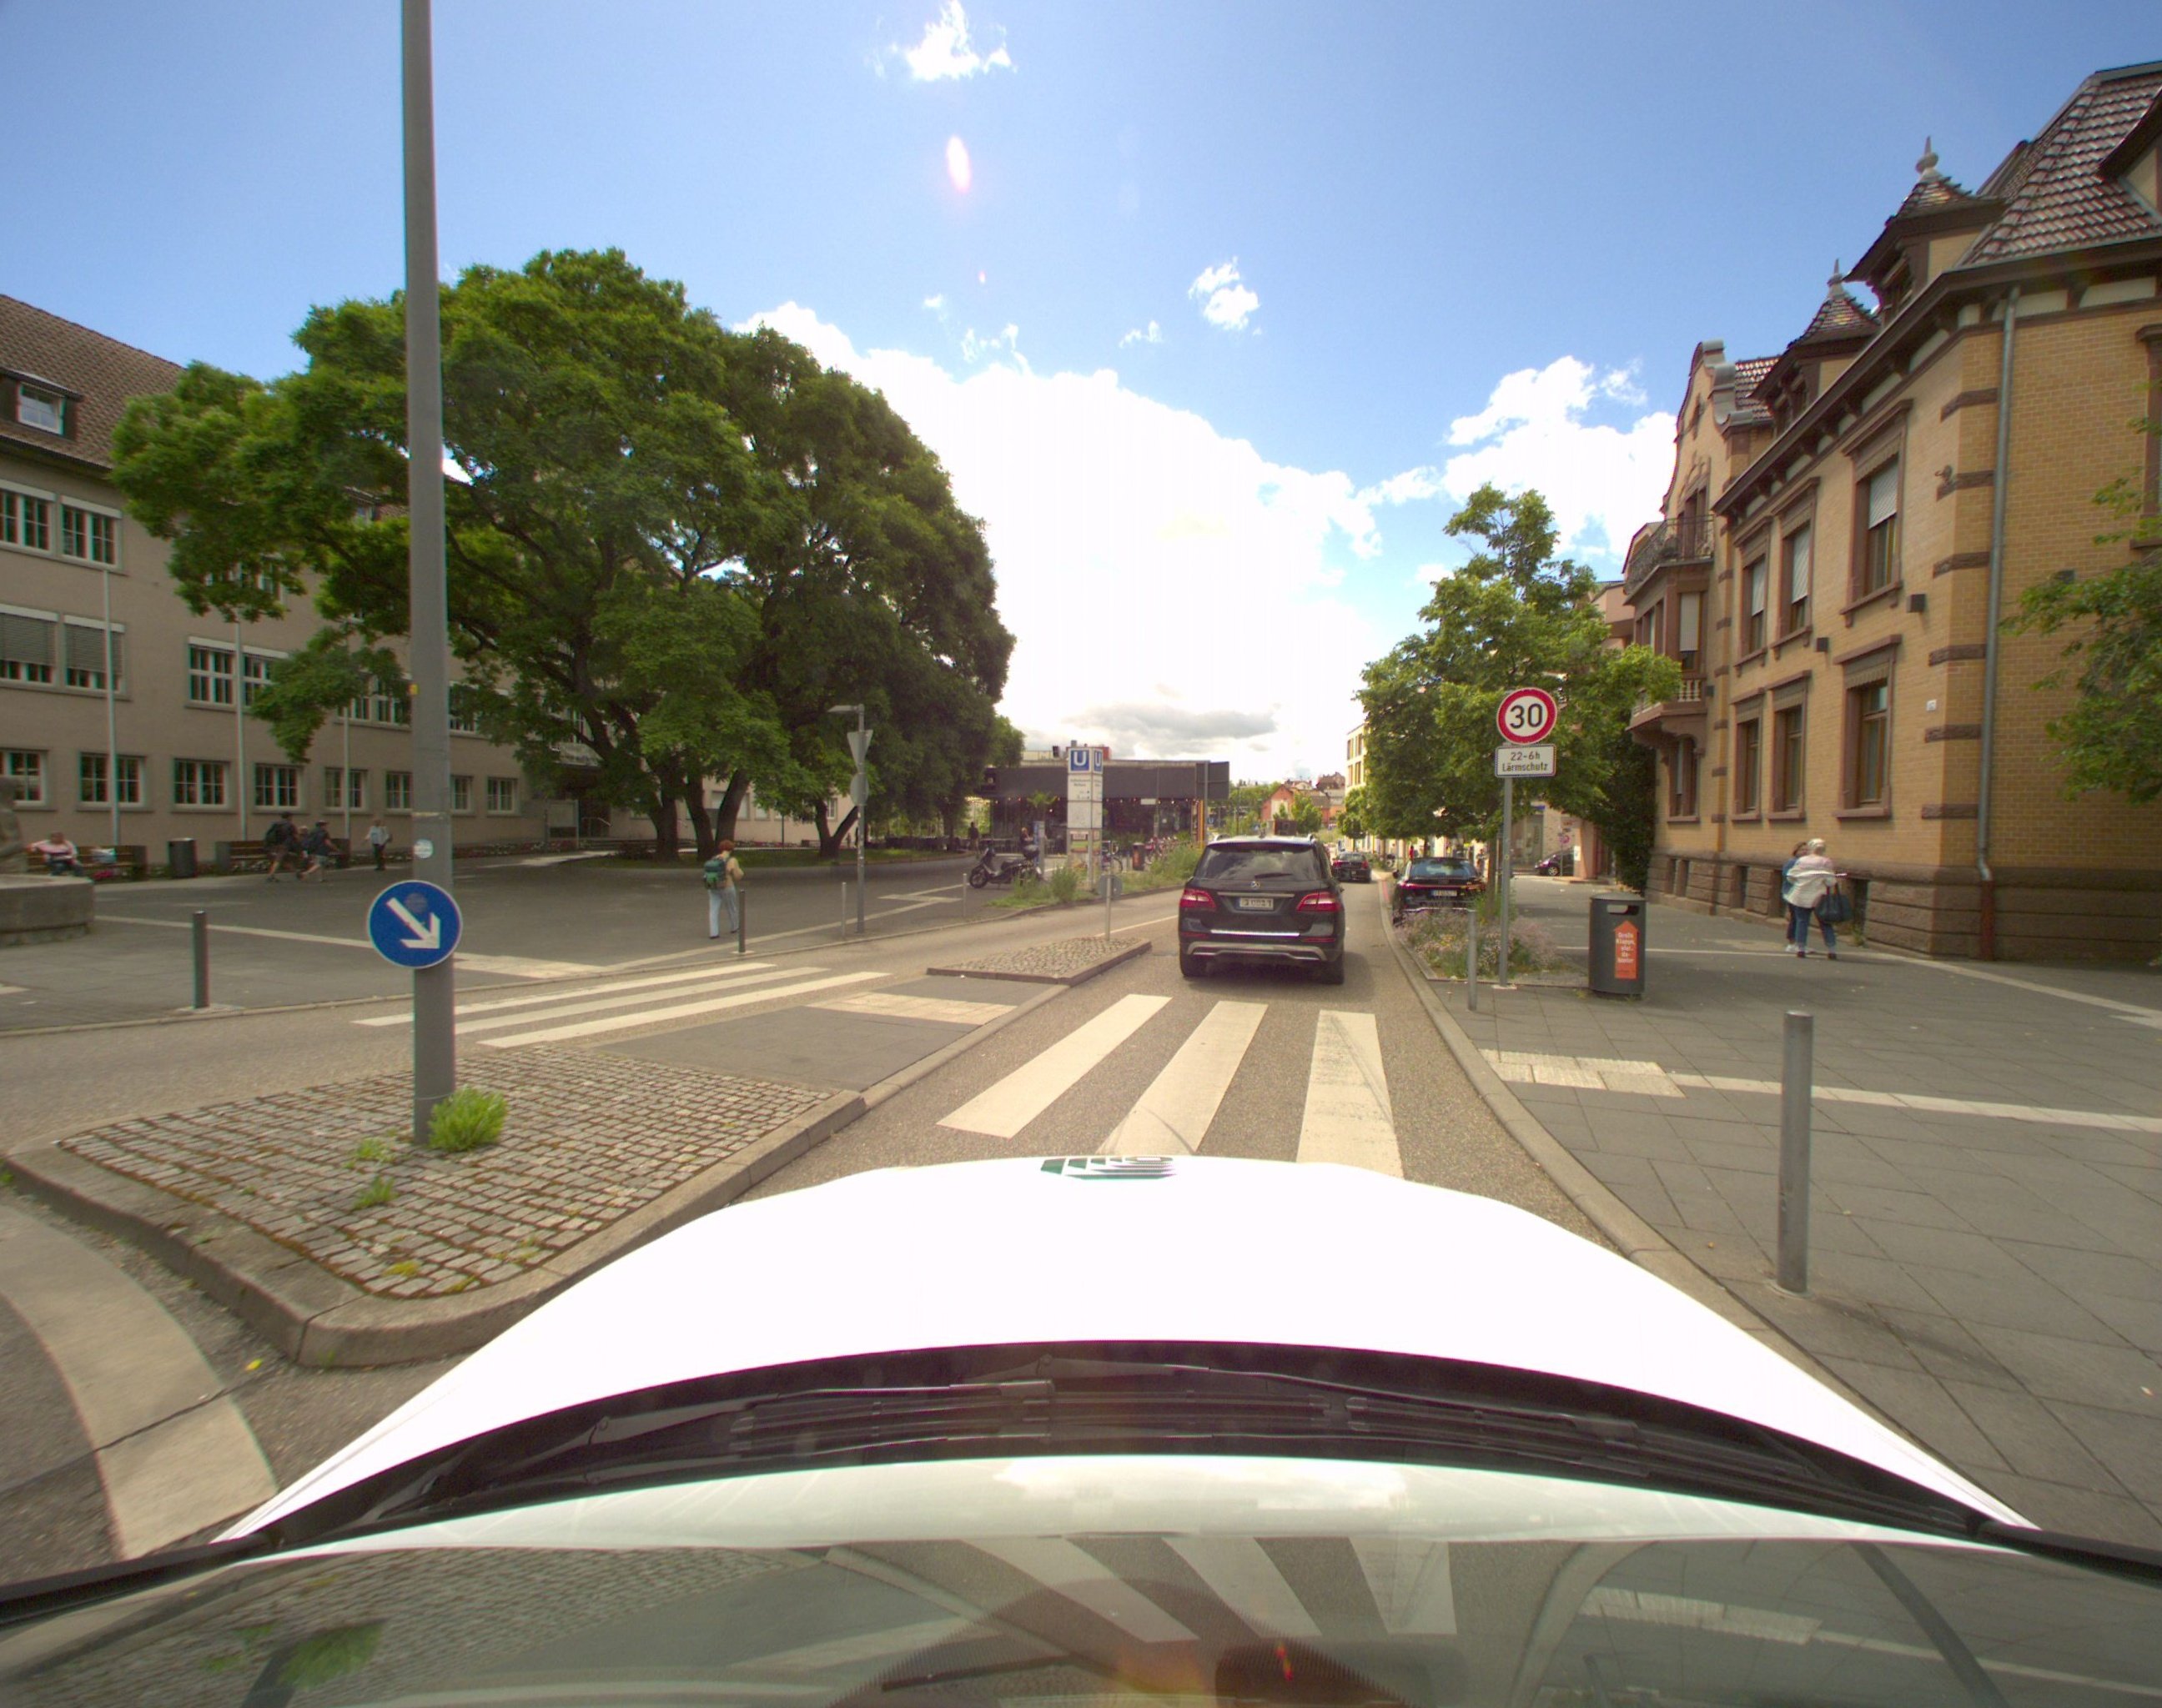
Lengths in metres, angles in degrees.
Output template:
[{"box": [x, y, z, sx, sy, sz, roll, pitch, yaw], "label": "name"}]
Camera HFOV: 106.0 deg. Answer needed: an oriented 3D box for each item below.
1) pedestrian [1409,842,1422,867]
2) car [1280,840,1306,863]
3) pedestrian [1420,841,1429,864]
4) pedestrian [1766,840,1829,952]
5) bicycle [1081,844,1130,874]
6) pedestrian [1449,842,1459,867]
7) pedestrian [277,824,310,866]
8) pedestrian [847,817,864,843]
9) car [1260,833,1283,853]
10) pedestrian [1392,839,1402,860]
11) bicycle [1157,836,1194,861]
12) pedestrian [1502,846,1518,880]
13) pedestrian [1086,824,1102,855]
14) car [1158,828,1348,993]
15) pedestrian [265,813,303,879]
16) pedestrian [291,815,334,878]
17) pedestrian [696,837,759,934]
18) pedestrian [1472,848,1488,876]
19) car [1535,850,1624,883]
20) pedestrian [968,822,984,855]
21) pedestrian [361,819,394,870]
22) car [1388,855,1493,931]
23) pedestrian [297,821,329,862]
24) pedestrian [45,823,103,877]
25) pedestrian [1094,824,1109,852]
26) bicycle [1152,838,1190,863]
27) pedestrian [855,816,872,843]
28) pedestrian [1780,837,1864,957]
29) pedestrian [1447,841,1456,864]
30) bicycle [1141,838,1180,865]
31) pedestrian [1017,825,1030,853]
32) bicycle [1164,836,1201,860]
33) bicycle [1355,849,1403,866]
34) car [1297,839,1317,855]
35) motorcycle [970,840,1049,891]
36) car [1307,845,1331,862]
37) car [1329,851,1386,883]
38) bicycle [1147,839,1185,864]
[{"box": [22.993, 0.031, 55.981, 0.658, 1.682, 0.570, 1, 1, 11], "label": "pedestrian"}, {"box": [16.479, -0.203, 63.169, 1.827, 1.607, 4.017, 3, 2, 15], "label": "car"}, {"box": [26.088, -0.112, 61.858, 0.554, 1.682, 0.571, 1, 1, 17], "label": "pedestrian"}, {"box": [10.652, 0.608, 12.114, 0.501, 1.629, 0.511, 0, 0, 8], "label": "pedestrian"}, {"box": [0.833, 0.151, 28.051, 1.597, 0.997, 0.503, 1, 1, 26], "label": "bicycle"}, {"box": [25.823, 0.043, 56.352, 0.554, 1.691, 0.642, 1, 1, 17], "label": "pedestrian"}, {"box": [-22.853, -0.252, 23.647, 0.488, 1.182, 0.576, 1, 0, -23], "label": "pedestrian"}, {"box": [-13.926, -1.457, 50.223, 0.779, 1.577, 0.640, 0, 1, 18], "label": "pedestrian"}, {"box": [19.429, -1.131, 83.285, 1.830, 1.858, 4.509, 3, 2, 9], "label": "car"}, {"box": [26.056, -0.365, 67.209, 0.557, 1.682, 0.568, 1, 1, -2], "label": "pedestrian"}, {"box": [4.268, -0.248, 36.865, 1.555, 1.091, 0.581, 1, 1, 20], "label": "bicycle"}, {"box": [20.989, 0.439, 39.847, 0.626, 1.626, 0.703, 1, 1, 22], "label": "pedestrian"}, {"box": [0.686, -0.786, 43.246, 0.585, 1.618, 0.609, 0, 1, -35], "label": "pedestrian"}, {"box": [2.486, 0.575, 10.948, 2.011, 1.727, 4.453, 0, 0, 17], "label": "car"}, {"box": [-20.112, -0.196, 20.555, 0.432, 1.608, 0.578, 5, 3, 34], "label": "pedestrian"}, {"box": [-19.279, -0.184, 20.425, 0.570, 1.523, 0.642, 5, 3, 34], "label": "pedestrian"}, {"box": [-5.832, 0.498, 13.466, 0.545, 1.513, 0.793, 3, 3, 27], "label": "pedestrian"}, {"box": [22.271, 0.453, 45.415, 0.705, 1.563, 0.571, 1, 1, 17], "label": "pedestrian"}, {"box": [28.378, 0.690, 46.532, 3.955, 1.566, 1.855, 4, 2, 18], "label": "car"}, {"box": [-5.014, -0.727, 38.868, 0.610, 1.577, 0.584, 0, 1, 8], "label": "pedestrian"}, {"box": [-20.977, -0.290, 24.285, 0.704, 1.492, 0.805, 1, 0, -43], "label": "pedestrian"}, {"box": [7.686, 0.738, 17.706, 1.840, 1.406, 4.397, 0, 0, 21], "label": "car"}, {"box": [-23.029, -0.365, 24.424, 0.488, 1.222, 0.576, 1, 0, -23], "label": "pedestrian"}, {"box": [-23.915, -0.096, 19.347, 0.574, 1.262, 0.704, 1, 0, 23], "label": "pedestrian"}, {"box": [1.113, -0.865, 43.974, 0.575, 1.463, 0.620, 1, 1, 28], "label": "pedestrian"}, {"box": [3.966, -0.172, 36.030, 1.555, 1.091, 0.581, 1, 1, 20], "label": "bicycle"}, {"box": [-13.142, -1.474, 49.250, 0.779, 1.627, 0.640, 0, 1, 18], "label": "pedestrian"}, {"box": [10.410, 0.587, 11.459, 0.552, 1.629, 0.675, 0, 0, -8], "label": "pedestrian"}, {"box": [26.619, -0.113, 58.509, 0.554, 1.682, 0.571, 1, 1, 17], "label": "pedestrian"}, {"box": [3.365, -0.112, 34.514, 1.555, 1.091, 0.581, 1, 1, 20], "label": "bicycle"}, {"box": [-2.950, -0.772, 41.752, 0.578, 1.379, 0.617, 0, 1, 7], "label": "pedestrian"}, {"box": [4.696, -0.298, 37.706, 1.555, 1.091, 0.581, 1, 1, 20], "label": "bicycle"}, {"box": [20.571, 0.232, 56.256, 3.037, 1.146, 0.713, 1, 1, 15], "label": "bicycle"}, {"box": [23.334, -0.781, 84.075, 1.828, 1.524, 4.016, 3, 2, 14], "label": "car"}, {"box": [-1.996, 0.299, 22.585, 2.114, 1.289, 0.586, 2, 3, 22], "label": "motorcycle"}, {"box": [20.420, -0.055, 69.990, 1.598, 1.383, 3.847, 0, 1, 10], "label": "car"}, {"box": [13.013, 0.566, 38.168, 1.593, 1.383, 3.861, 1, 1, 33], "label": "car"}, {"box": [3.685, -0.123, 35.221, 1.555, 1.069, 0.542, 1, 1, 20], "label": "bicycle"}]
